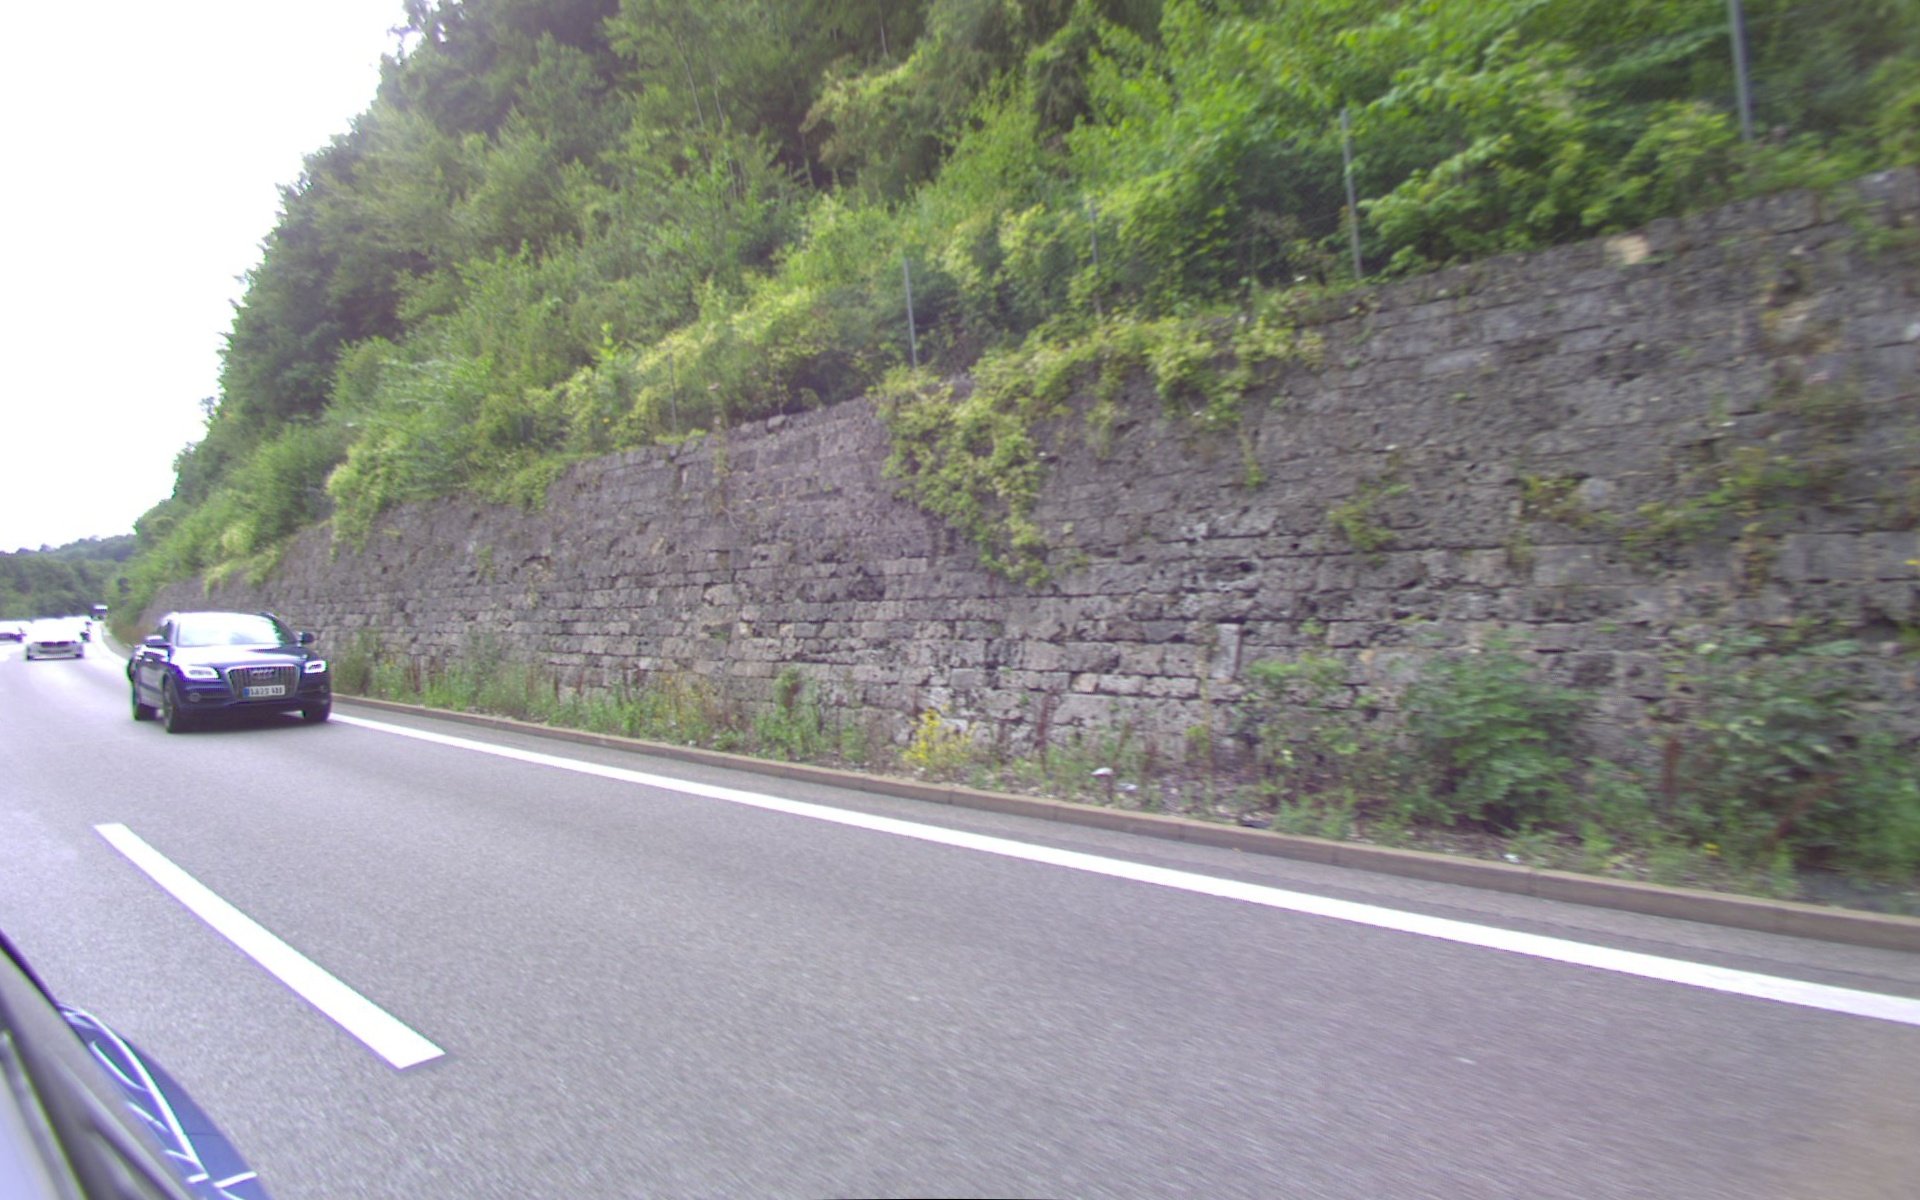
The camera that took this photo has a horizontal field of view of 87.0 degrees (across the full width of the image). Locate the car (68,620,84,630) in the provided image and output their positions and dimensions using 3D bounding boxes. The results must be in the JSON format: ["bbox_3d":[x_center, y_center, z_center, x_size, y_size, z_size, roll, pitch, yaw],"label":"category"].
[{"bbox_3d":[-145.247,4.164,166.376,1.795,1.567,4.007,0,-2,-39],"label":"car"}]

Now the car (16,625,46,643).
[{"bbox_3d":[-87.020,3.218,94.817,1.795,1.567,4.007,0,-2,-39],"label":"car"}]

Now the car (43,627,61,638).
[{"bbox_3d":[-135.508,4.917,151.085,1.795,1.567,4.007,0,-2,-39],"label":"car"}]

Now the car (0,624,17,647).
[{"bbox_3d":[-68.241,2.543,71.696,1.795,1.567,4.007,0,-2,-39],"label":"car"}]

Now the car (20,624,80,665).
[{"bbox_3d":[-37.716,1.856,42.002,1.796,1.567,4.005,0,-2,-41],"label":"car"}]

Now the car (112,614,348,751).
[{"bbox_3d":[-11.281,1.077,15.436,5.588,1.605,1.949,0,2,44],"label":"car"}]
